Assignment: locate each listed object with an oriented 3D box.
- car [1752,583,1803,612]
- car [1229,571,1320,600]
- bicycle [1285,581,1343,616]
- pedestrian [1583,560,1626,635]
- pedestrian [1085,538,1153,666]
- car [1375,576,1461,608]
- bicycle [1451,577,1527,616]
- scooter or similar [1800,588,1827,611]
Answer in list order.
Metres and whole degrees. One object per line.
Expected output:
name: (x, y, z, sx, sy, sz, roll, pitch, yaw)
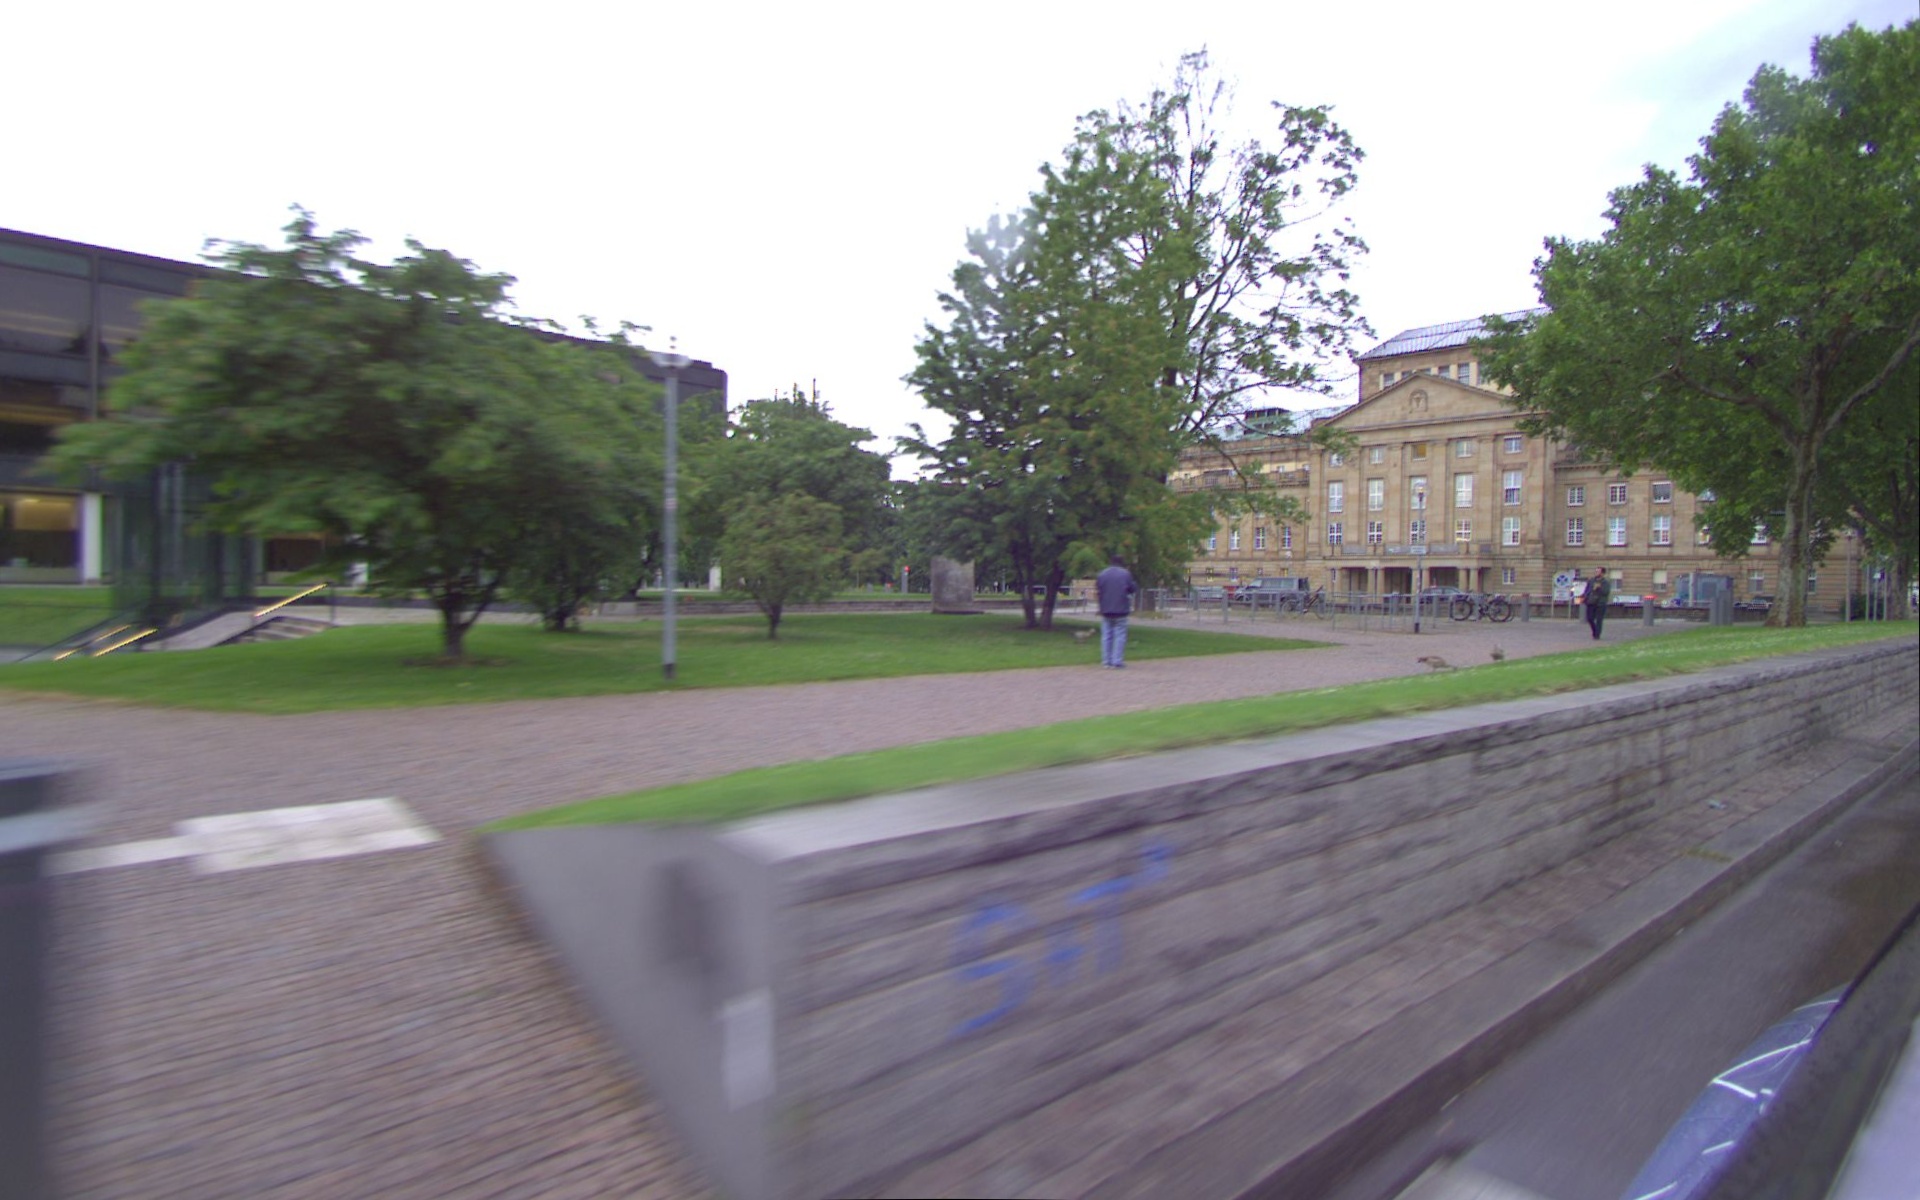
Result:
car: (49.633, -0.144, 61.392, 1.994, 1.630, 5.153, 1, 0, 44)
car: (19.890, -0.922, 64.121, 5.006, 1.786, 2.422, 2, 1, 43)
bicycle: (11.654, -0.060, 33.356, 1.640, 1.099, 0.699, 2, 1, 42)
pedestrian: (15.274, -0.053, 23.983, 0.681, 1.740, 0.706, 1, -1, -43)
pedestrian: (2.279, 0.018, 14.468, 0.595, 1.777, 0.714, 3, 2, 44)
car: (25.480, -0.482, 56.387, 1.628, 1.619, 3.994, 0, 3, -41)
bicycle: (17.069, -0.132, 32.679, 2.029, 1.188, 0.947, 2, 1, 37)
scooter or similar: (48.177, -0.029, 57.164, 0.535, 1.271, 1.431, 2, 1, 13)
